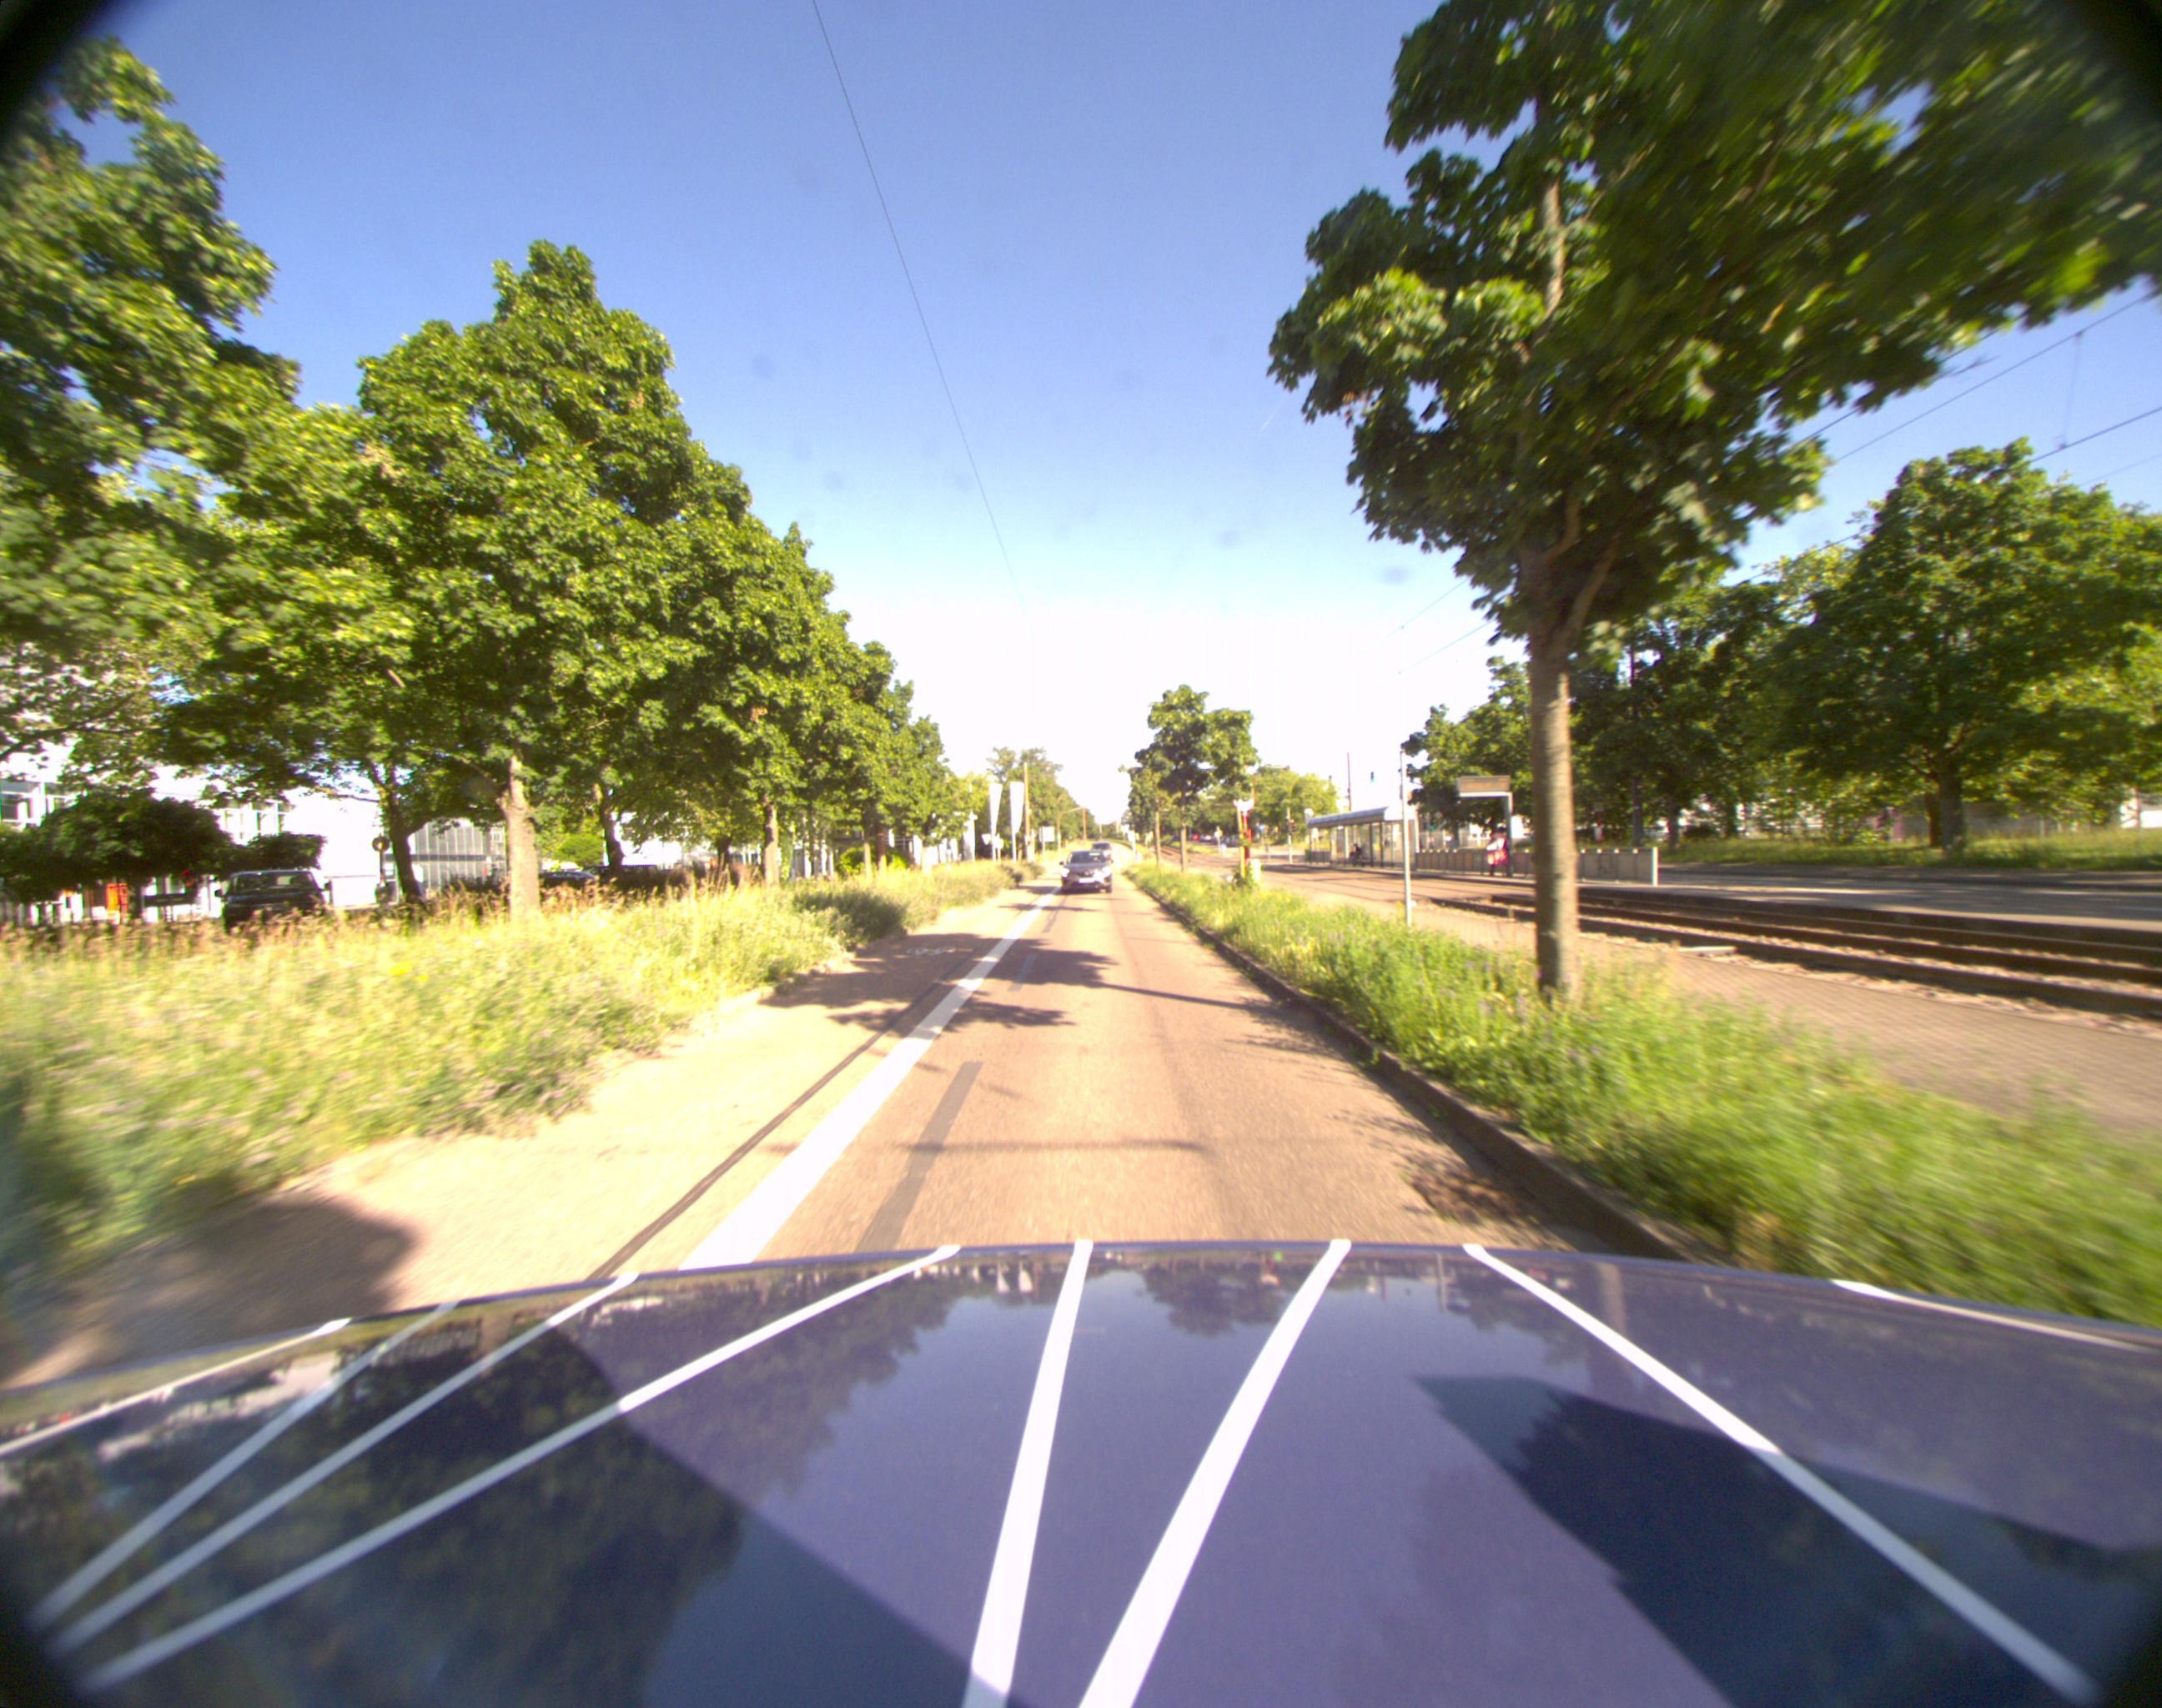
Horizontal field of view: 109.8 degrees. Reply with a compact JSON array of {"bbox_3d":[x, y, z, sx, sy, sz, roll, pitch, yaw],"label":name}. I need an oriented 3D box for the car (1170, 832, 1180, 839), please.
[{"bbox_3d":[21.319,-4.164,172.279,1.701,1.575,3.456,-1,1,-1],"label":"car"}]

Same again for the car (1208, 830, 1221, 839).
[{"bbox_3d":[24.230,-3.551,137.977,1.701,1.575,3.456,-1,1,-1],"label":"car"}]

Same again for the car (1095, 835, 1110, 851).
[{"bbox_3d":[2.413,-1.235,85.040,1.555,1.765,3.456,-1,1,-1],"label":"car"}]

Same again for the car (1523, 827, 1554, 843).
[{"bbox_3d":[52.214,-2.127,86.813,1.996,1.696,4.004,-2,1,16],"label":"car"}]

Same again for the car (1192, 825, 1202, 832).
[{"bbox_3d":[27.374,-5.959,179.883,1.701,1.575,3.456,-1,1,-1],"label":"car"}]

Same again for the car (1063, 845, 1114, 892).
[{"bbox_3d":[0.243,0.499,29.298,1.750,1.585,4.245,-2,1,-1],"label":"car"}]

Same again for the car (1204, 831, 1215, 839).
[{"bbox_3d":[27.209,-4.040,161.270,1.701,1.575,3.456,-1,1,-1],"label":"car"}]

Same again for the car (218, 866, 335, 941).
[{"bbox_3d":[-23.489,1.368,22.370,2.084,1.865,5.172,-4,1,-45],"label":"car"}]

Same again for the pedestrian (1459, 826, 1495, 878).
[{"bbox_3d":[13.965,-0.072,26.806,0.786,1.741,0.781,-3,1,0],"label":"pedestrian"}]

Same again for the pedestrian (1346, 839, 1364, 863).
[{"bbox_3d":[14.487,-0.166,40.167,0.650,1.242,0.681,0,1,-8],"label":"pedestrian"}]

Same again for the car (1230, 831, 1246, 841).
[{"bbox_3d":[24.924,-2.834,120.671,1.772,1.575,3.456,-1,1,-1],"label":"car"}]
